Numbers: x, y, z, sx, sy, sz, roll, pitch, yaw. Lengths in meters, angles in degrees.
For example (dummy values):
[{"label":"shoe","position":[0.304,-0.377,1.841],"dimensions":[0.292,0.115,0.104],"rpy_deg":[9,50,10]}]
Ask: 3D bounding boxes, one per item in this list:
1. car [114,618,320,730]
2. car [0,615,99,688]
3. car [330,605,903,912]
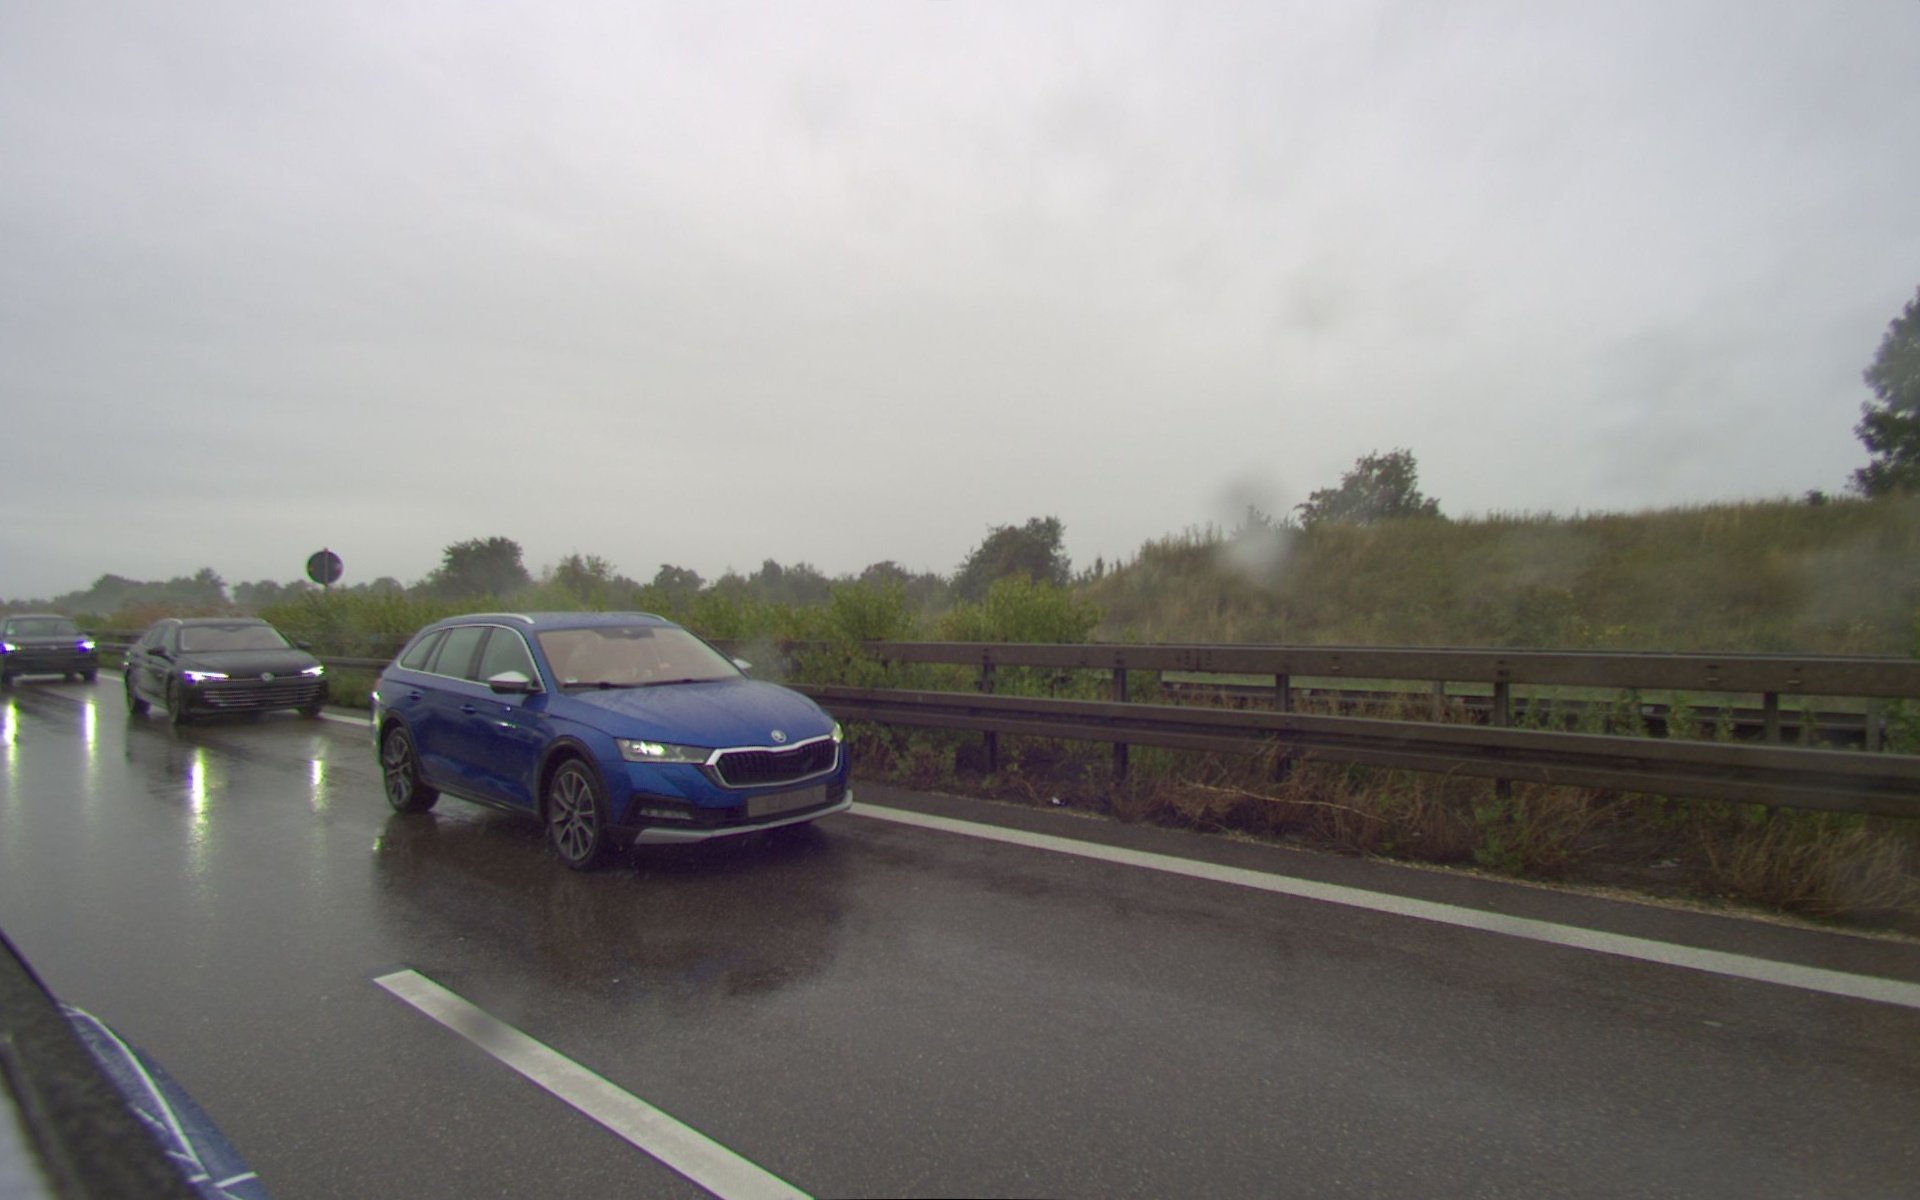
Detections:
[{"label":"car","position":[-11.300,1.023,15.280],"dimensions":[4.368,1.447,1.592],"rpy_deg":[-1,-1,41]},{"label":"car","position":[-23.020,1.231,25.129],"dimensions":[4.266,1.644,1.865],"rpy_deg":[-1,-1,40]},{"label":"car","position":[-2.634,0.813,7.078],"dimensions":[4.509,1.487,1.768],"rpy_deg":[-1,-1,41]}]
